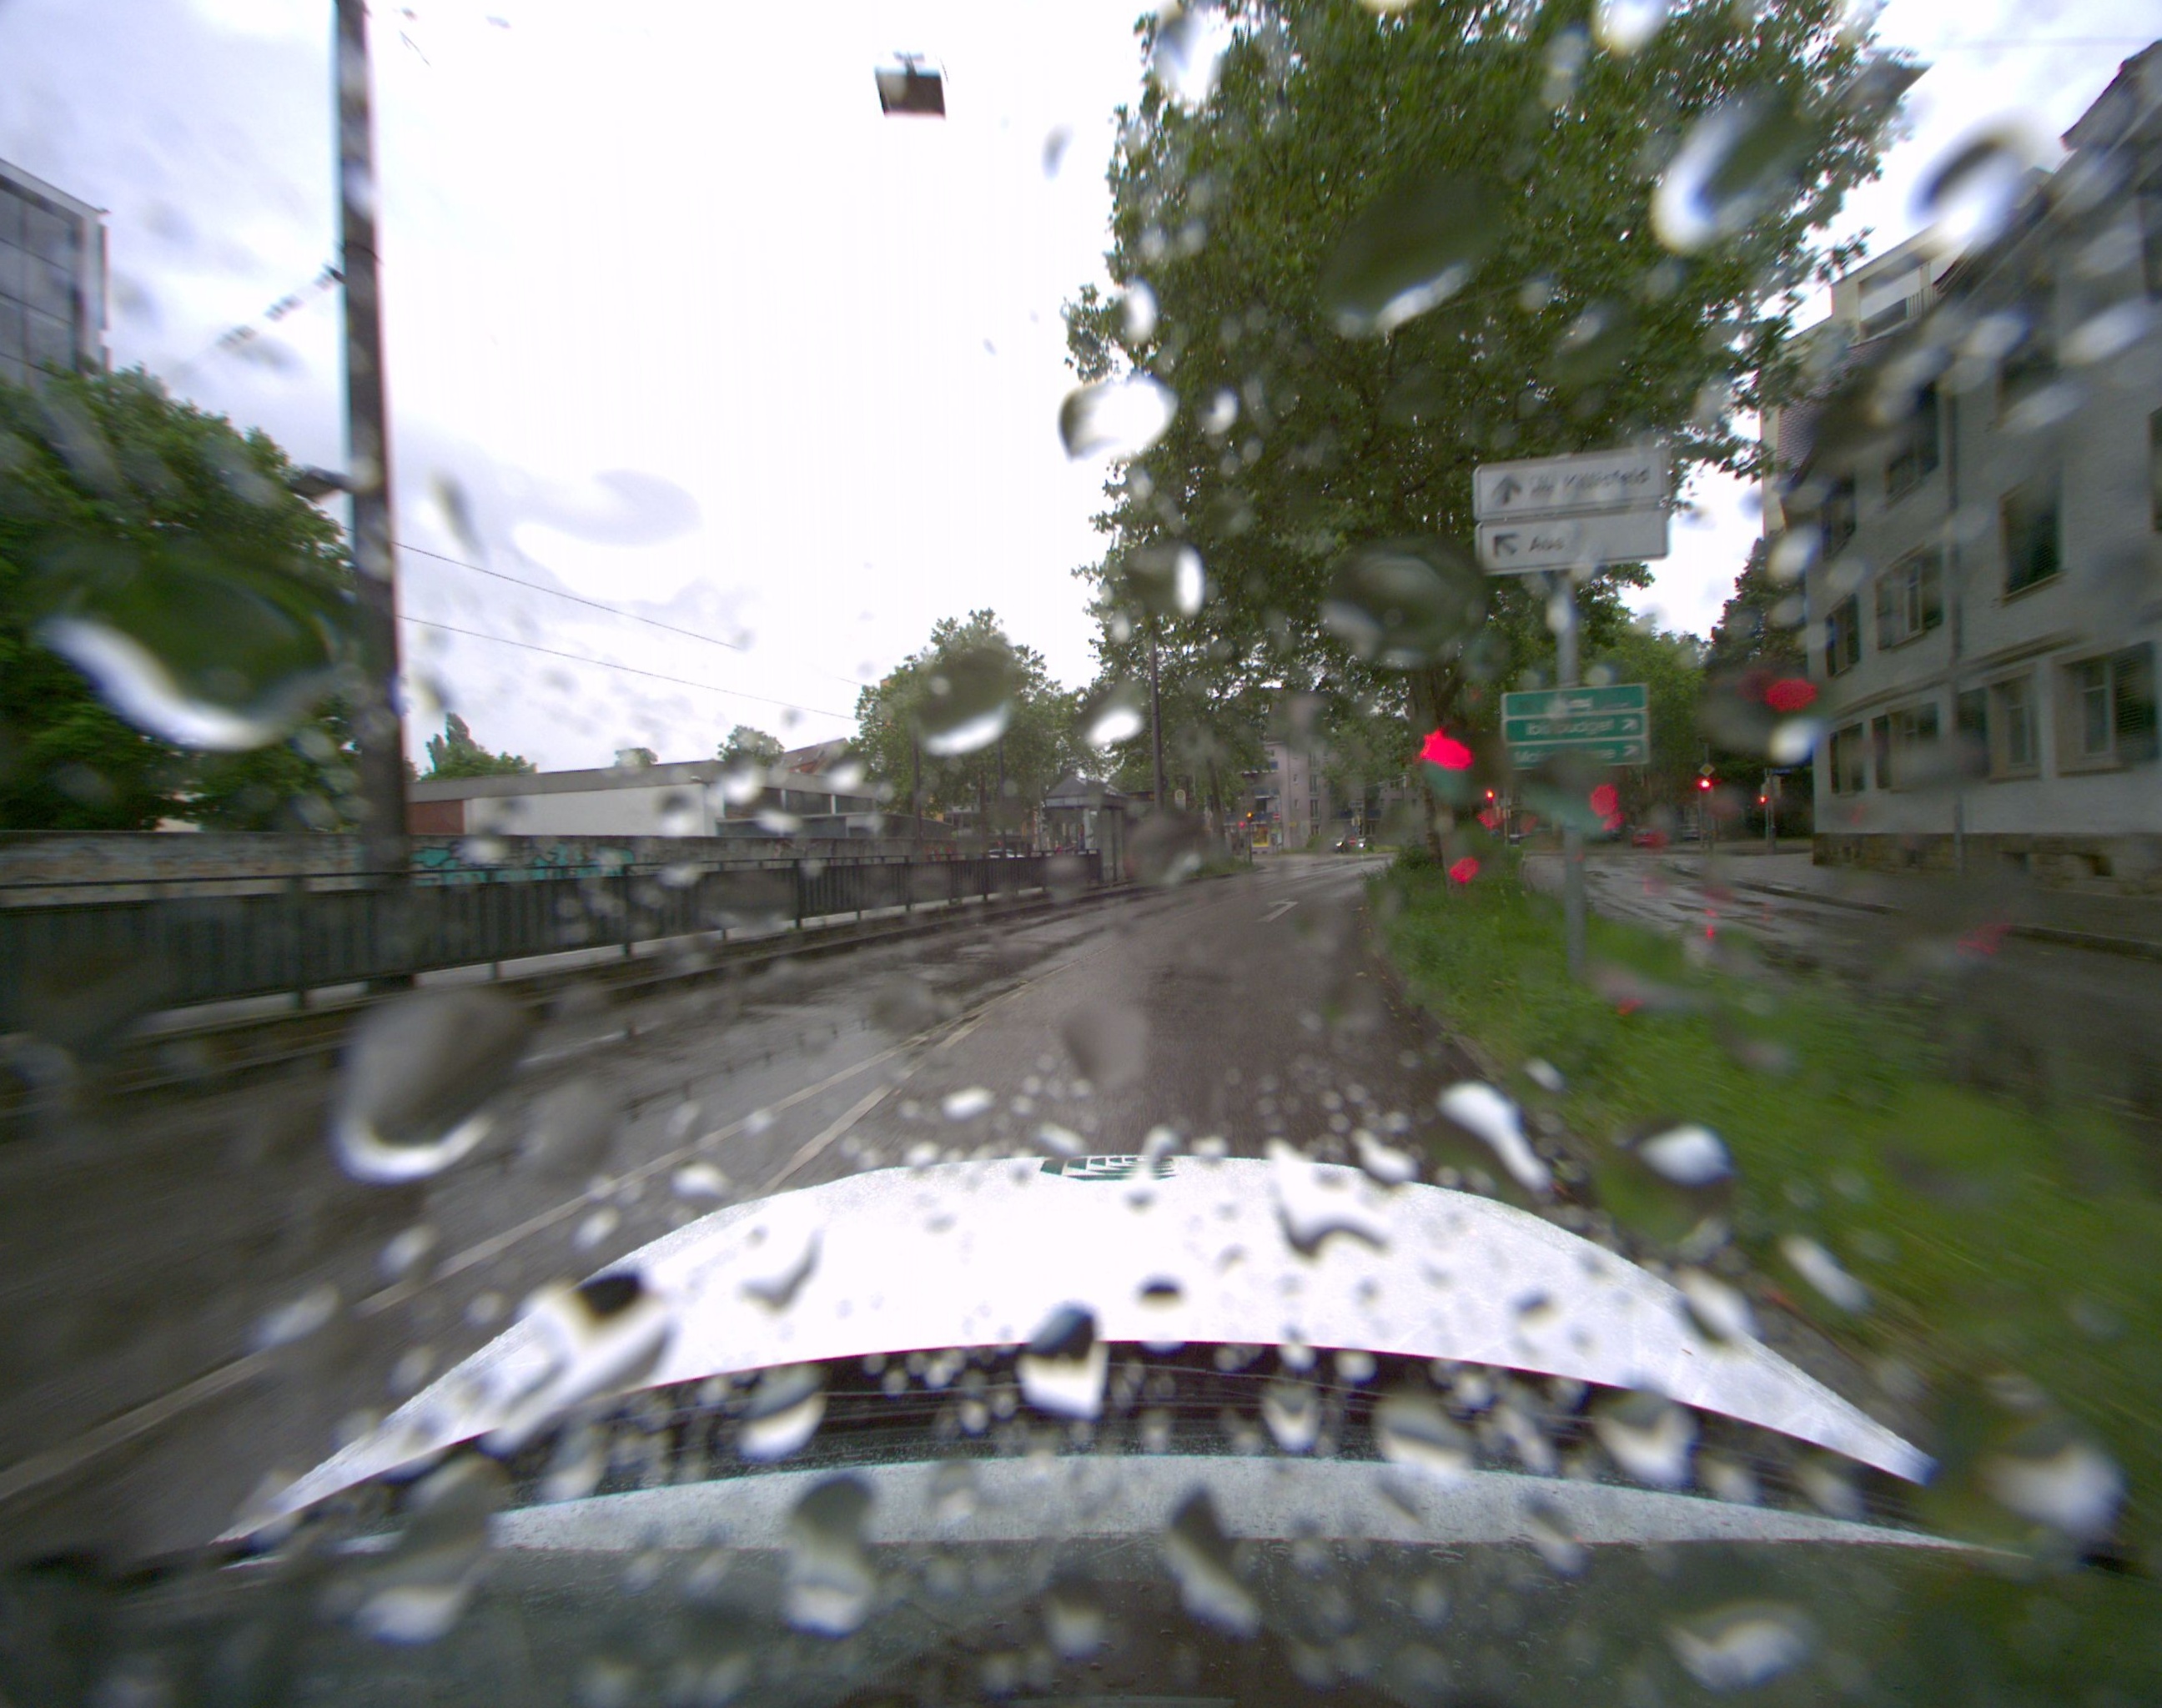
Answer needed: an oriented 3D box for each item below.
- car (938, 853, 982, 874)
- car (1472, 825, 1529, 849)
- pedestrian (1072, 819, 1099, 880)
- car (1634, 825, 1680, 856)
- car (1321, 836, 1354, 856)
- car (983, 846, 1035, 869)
[{"bbox_3d":[-10.801,0.852,72.407,3.744,1.639,1.736,-4,-1,41],"label":"car"},{"bbox_3d":[30.952,-1.235,60.156,3.445,1.523,1.530,-4,-1,37],"label":"car"},{"bbox_3d":[0.130,-0.122,23.674,0.582,1.731,0.565,-4,-1,-14],"label":"pedestrian"},{"bbox_3d":[41.246,-0.972,58.281,1.975,2.013,4.024,-4,-1,44],"label":"car"},{"bbox_3d":[22.529,-0.714,71.366,1.708,1.552,3.583,-4,-1,34],"label":"car"},{"bbox_3d":[-6.072,0.276,68.429,3.967,1.651,1.985,-4,-1,41],"label":"car"}]
